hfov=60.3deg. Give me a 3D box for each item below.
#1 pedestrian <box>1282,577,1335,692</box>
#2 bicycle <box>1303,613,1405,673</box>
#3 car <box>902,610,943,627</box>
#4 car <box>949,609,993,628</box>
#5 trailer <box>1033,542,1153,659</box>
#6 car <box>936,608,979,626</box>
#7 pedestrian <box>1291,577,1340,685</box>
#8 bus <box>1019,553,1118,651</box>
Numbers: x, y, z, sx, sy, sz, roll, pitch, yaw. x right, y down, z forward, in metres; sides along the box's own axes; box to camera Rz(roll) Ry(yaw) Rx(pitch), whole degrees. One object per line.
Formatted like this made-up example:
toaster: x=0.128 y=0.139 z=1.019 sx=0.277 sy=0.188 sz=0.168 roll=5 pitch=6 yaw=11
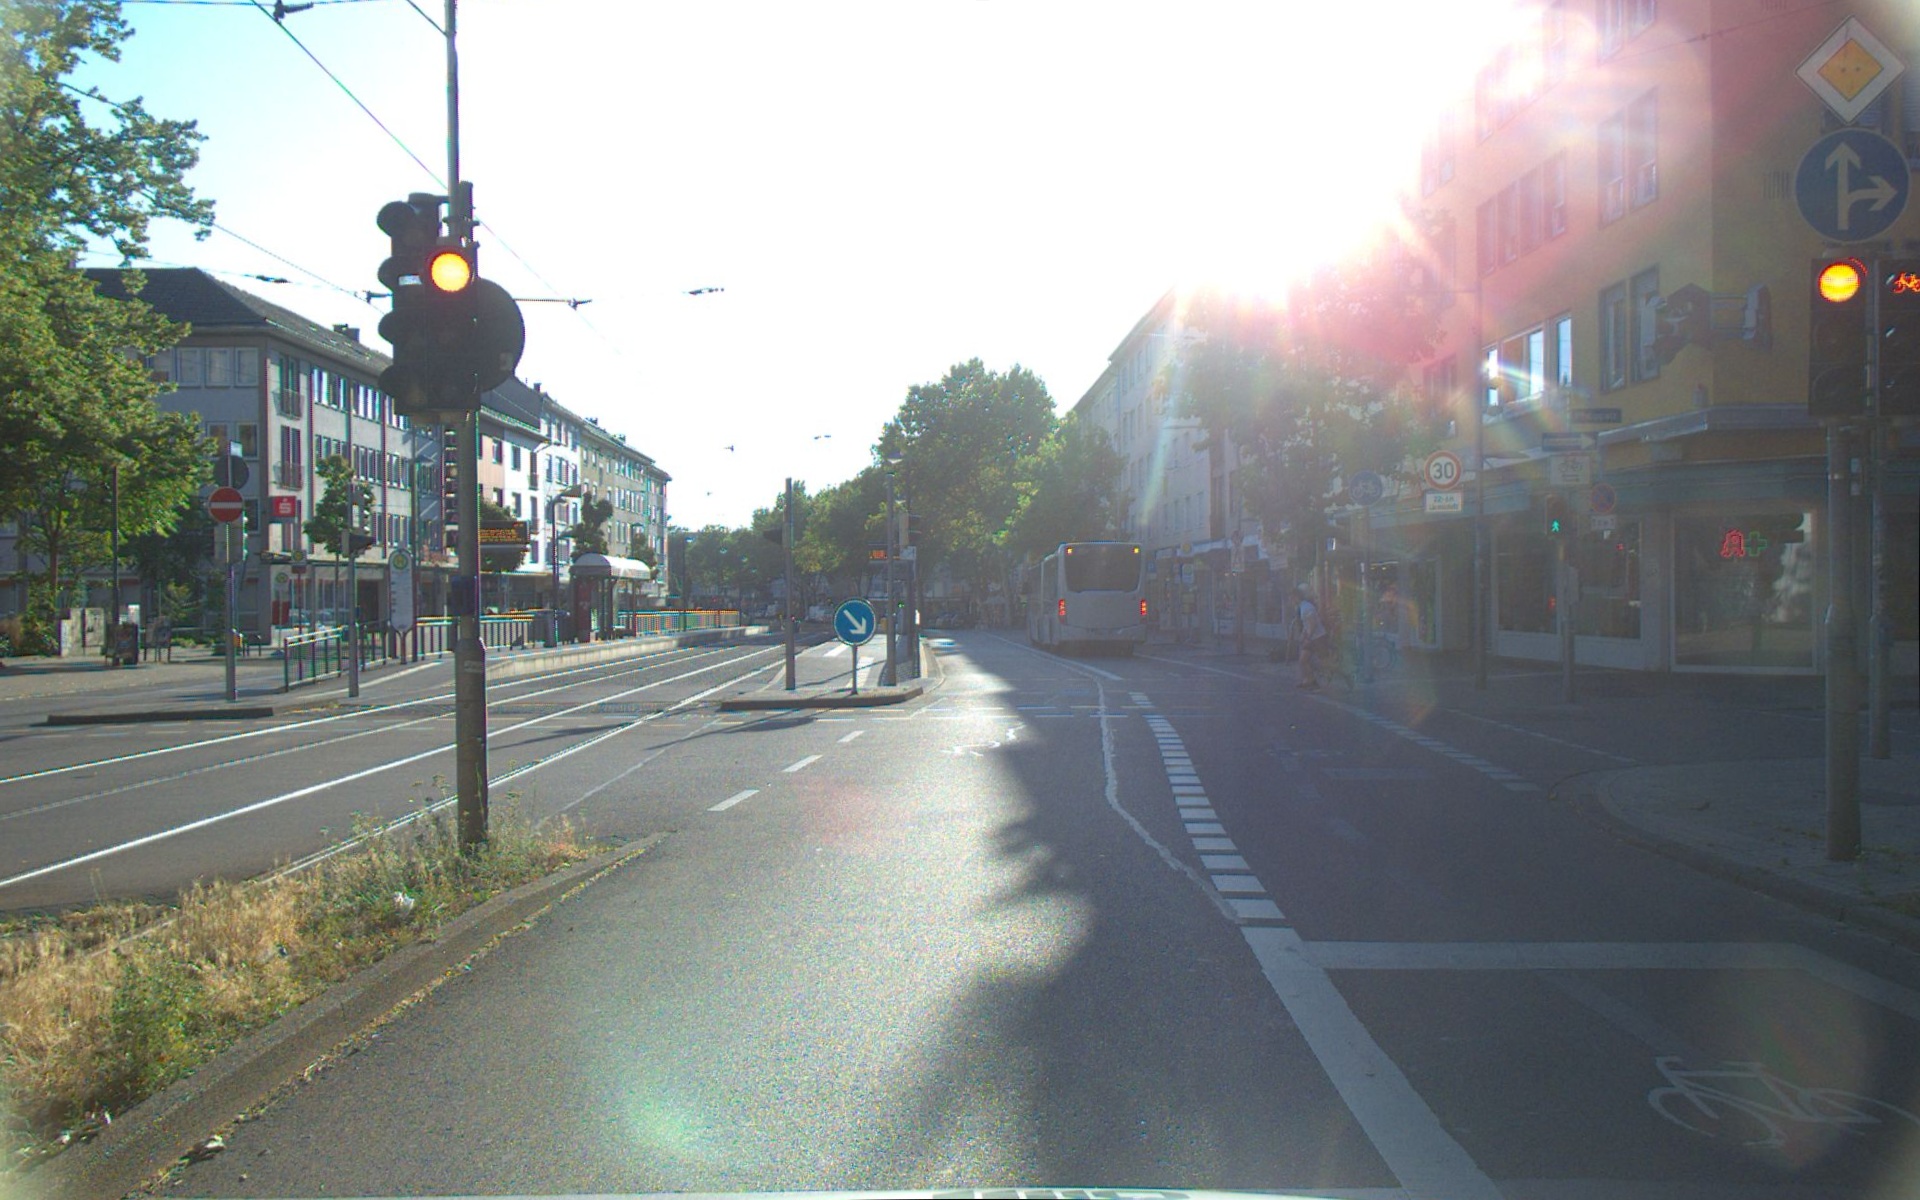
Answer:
pedestrian: x=5.534 y=0.537 z=26.275 sx=0.666 sy=1.801 sz=0.687 roll=-1 pitch=0 yaw=0
bicycle: x=7.473 y=0.813 z=31.419 sx=1.737 sy=1.039 sz=0.694 roll=-2 pitch=0 yaw=-2
car: x=-3.765 y=1.887 z=166.495 sx=3.848 sy=1.624 sz=1.674 roll=-1 pitch=0 yaw=-30
car: x=1.016 y=1.743 z=158.616 sx=3.848 sy=1.729 sz=1.815 roll=-1 pitch=0 yaw=-30
trailer: x=3.874 y=0.028 z=50.063 sx=2.755 sy=3.165 sz=8.792 roll=1 pitch=0 yaw=-1
car: x=-0.254 y=1.662 z=161.316 sx=3.848 sy=1.729 sz=1.815 roll=-1 pitch=0 yaw=-30
pedestrian: x=5.992 y=0.515 z=27.884 sx=0.666 sy=1.801 sz=0.687 roll=-1 pitch=0 yaw=0
bus: x=3.745 y=0.069 z=59.009 sx=2.755 sy=3.156 sz=9.092 roll=1 pitch=0 yaw=-1
